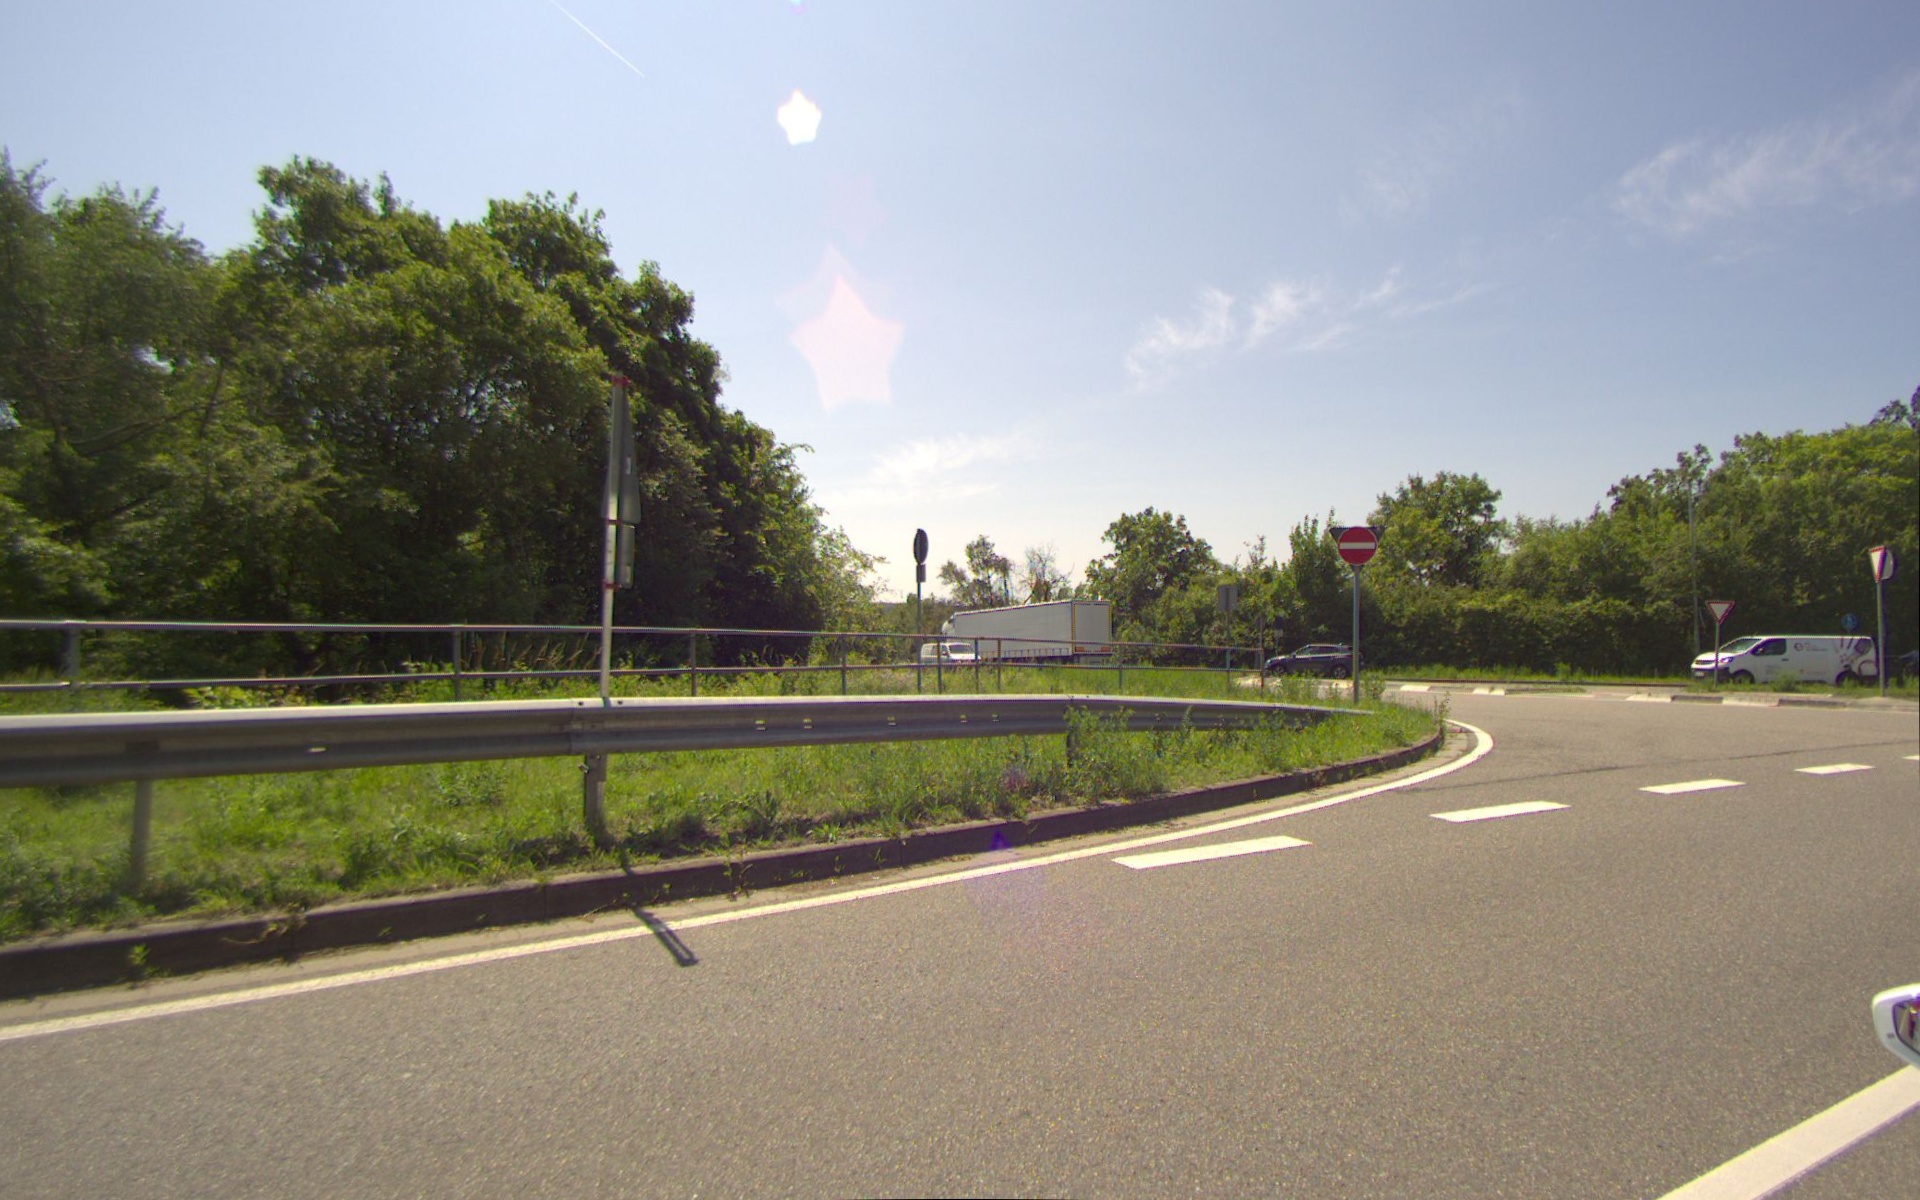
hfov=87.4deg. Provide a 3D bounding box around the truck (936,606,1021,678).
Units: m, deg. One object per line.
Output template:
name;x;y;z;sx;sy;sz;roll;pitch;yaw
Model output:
truck;1.075;2.776;63.897;2.961;4.330;5.889;2;-4;-27

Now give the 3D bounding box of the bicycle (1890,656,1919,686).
bicycle;37.074;2.759;38.997;1.452;1.128;0.437;1;-1;5

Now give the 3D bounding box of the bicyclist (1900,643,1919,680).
bicyclist;37.107;2.382;39.000;0.597;1.381;0.690;1;0;5

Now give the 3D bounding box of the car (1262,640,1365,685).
car;14.947;2.606;42.493;3.858;1.617;1.767;1;0;30

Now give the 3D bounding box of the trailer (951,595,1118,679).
trailer;3.892;2.371;58.346;2.961;4.330;13.700;2;-4;-27

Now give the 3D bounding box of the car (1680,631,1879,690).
car;28.507;2.075;35.100;5.089;1.949;2.018;0;0;7

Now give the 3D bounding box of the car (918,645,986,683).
car;-0.519;3.608;56.612;1.972;2.054;5.160;1;-4;-23
